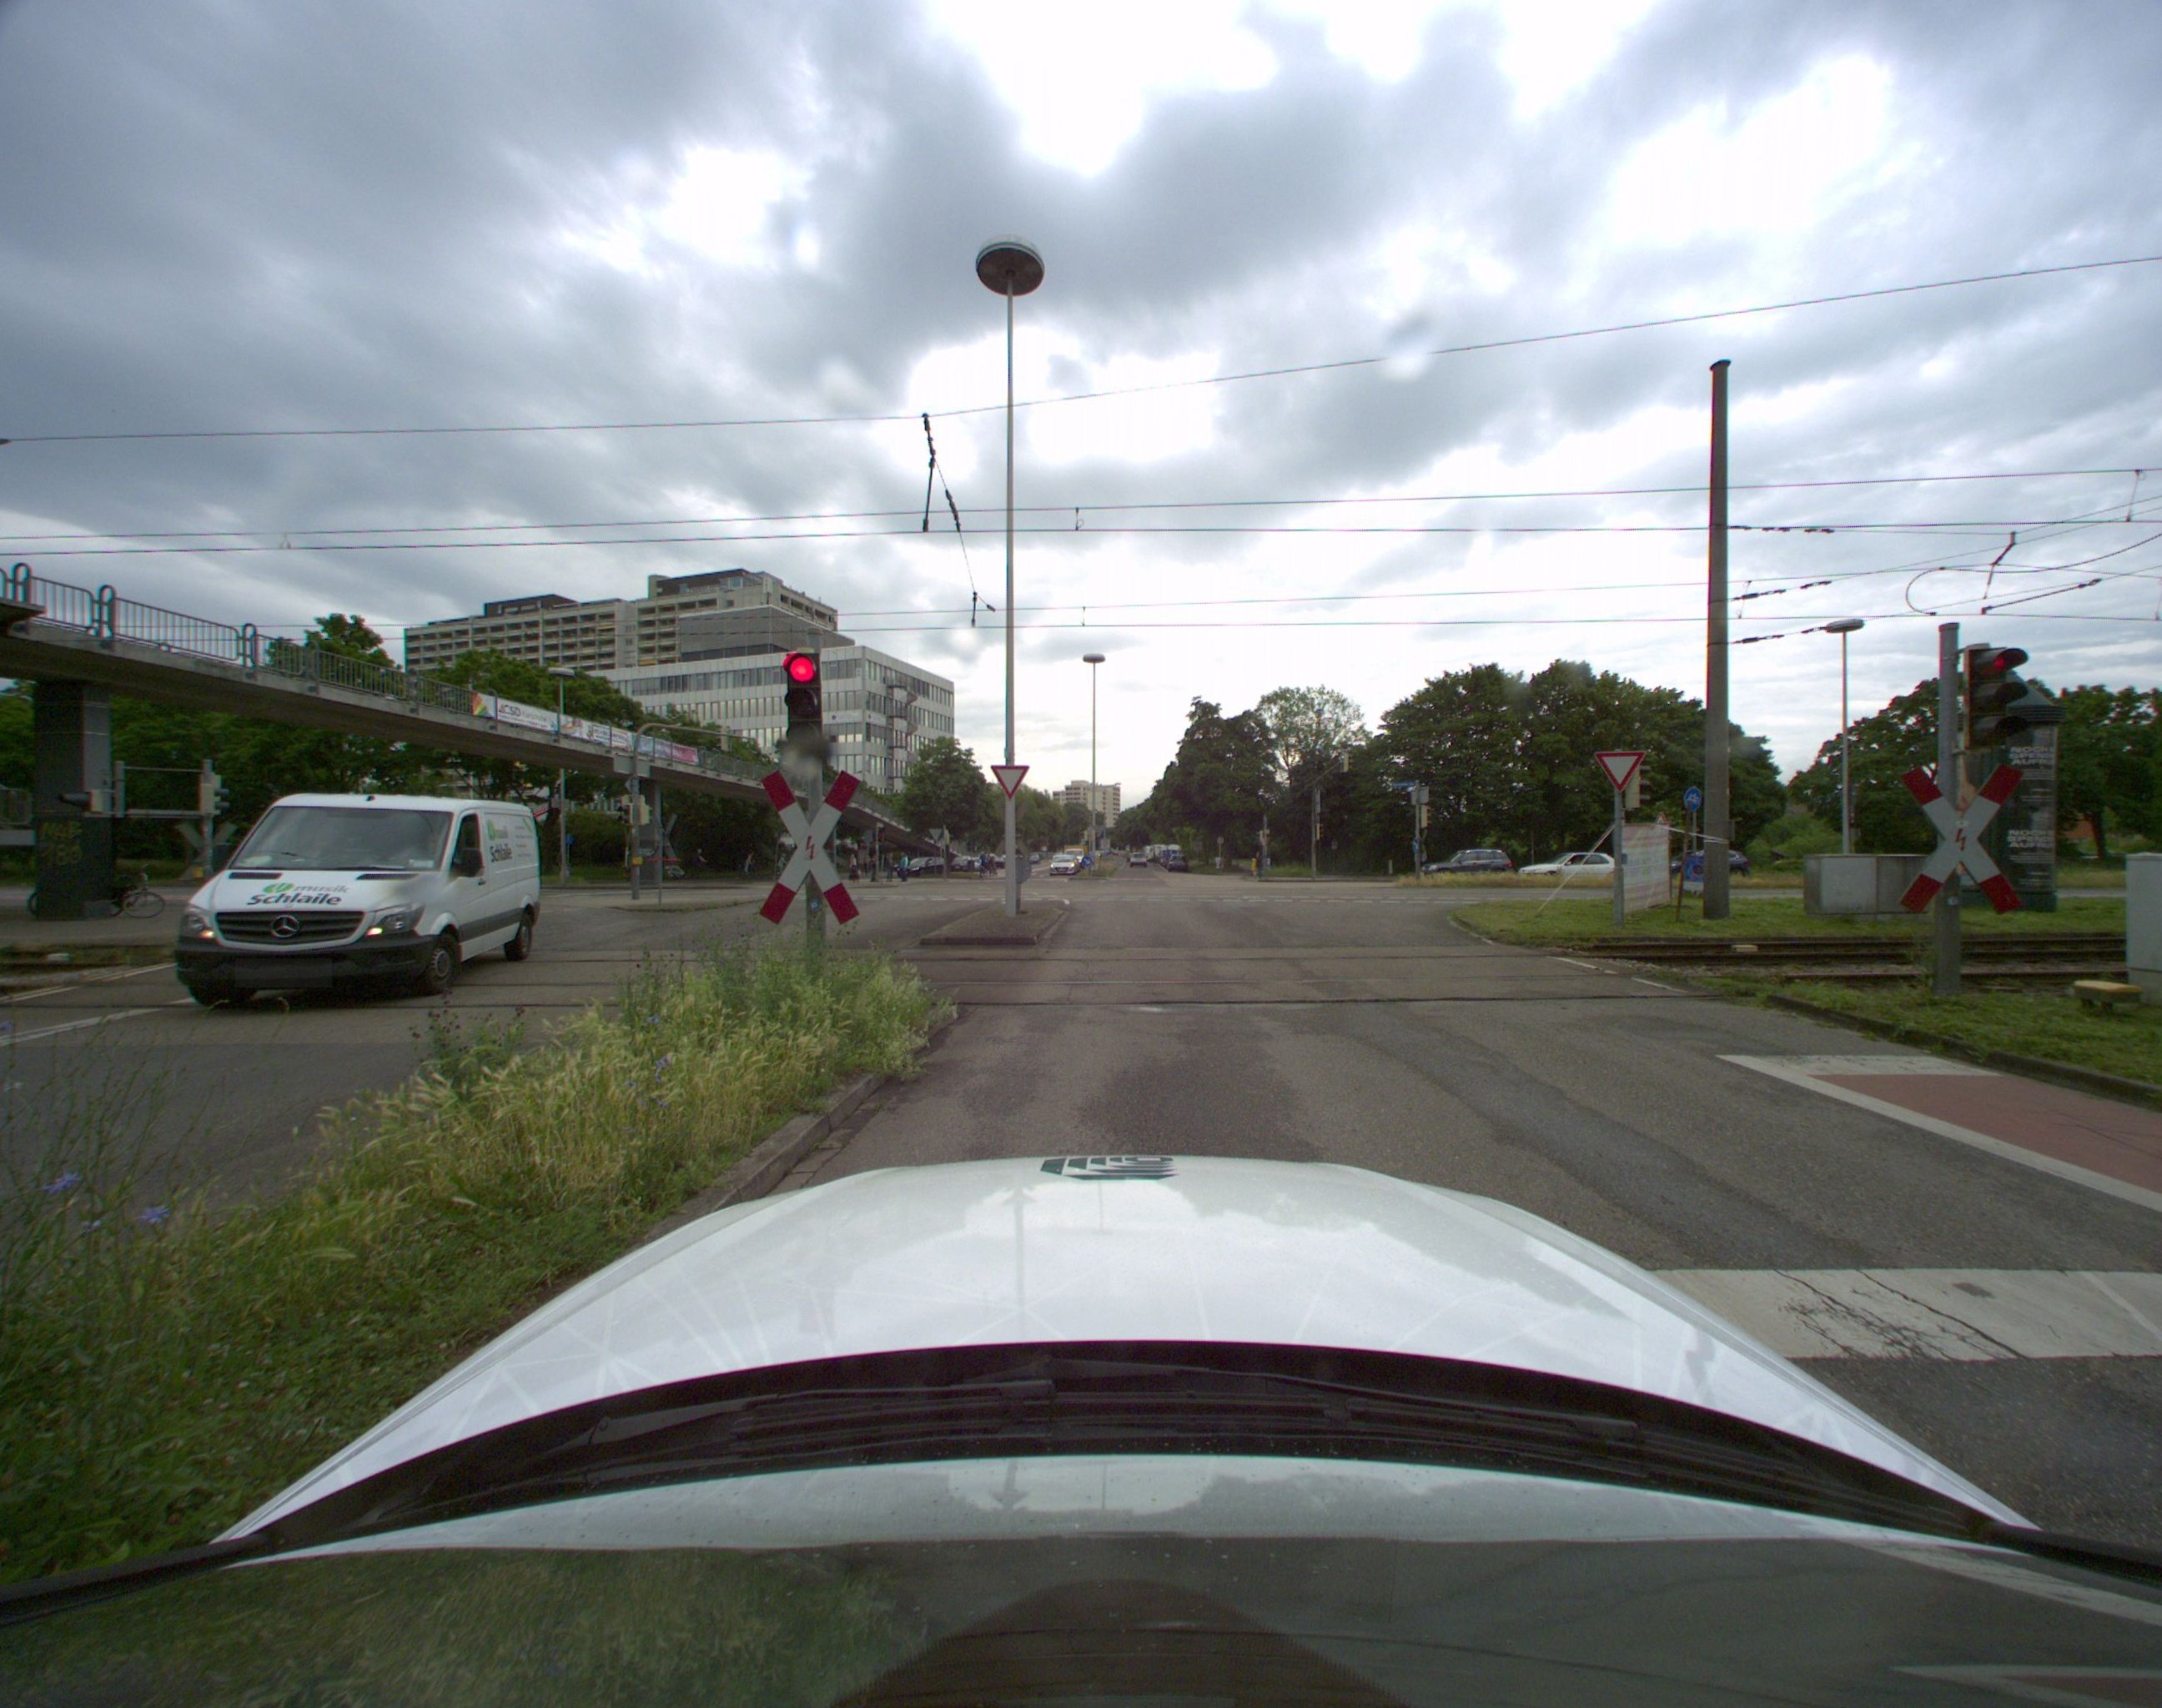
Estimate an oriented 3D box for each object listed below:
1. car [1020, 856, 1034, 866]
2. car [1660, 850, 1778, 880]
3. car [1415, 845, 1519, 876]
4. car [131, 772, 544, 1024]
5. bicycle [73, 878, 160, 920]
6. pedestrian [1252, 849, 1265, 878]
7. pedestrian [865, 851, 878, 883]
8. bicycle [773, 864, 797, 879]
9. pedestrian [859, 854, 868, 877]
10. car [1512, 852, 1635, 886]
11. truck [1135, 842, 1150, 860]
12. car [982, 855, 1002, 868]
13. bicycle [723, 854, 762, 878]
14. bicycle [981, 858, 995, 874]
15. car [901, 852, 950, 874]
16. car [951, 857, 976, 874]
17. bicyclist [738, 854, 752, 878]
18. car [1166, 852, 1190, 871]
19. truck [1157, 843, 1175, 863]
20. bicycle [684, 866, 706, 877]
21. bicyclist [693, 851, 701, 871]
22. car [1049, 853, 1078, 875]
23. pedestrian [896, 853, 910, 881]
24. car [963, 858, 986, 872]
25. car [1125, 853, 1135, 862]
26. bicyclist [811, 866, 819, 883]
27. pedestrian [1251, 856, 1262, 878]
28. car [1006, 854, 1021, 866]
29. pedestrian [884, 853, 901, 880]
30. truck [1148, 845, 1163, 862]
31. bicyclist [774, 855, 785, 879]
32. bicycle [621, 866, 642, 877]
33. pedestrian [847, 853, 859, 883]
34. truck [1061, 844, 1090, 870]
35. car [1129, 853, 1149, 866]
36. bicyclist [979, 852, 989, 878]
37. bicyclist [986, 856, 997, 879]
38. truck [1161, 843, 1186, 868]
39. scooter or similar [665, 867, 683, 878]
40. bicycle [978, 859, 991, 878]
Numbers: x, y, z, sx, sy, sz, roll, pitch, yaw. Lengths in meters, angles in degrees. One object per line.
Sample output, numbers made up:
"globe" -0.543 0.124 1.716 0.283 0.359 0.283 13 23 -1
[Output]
"car" -8.318 1.111 126.131 1.665 1.552 4.003 0 0 3
"car" 31.982 0.539 40.907 4.447 1.440 1.847 0 0 2
"car" 19.625 0.329 41.507 4.447 1.504 1.847 0 0 2
"car" -8.624 0.424 10.223 2.143 2.292 5.168 -2 -1 -23
"bicycle" -21.732 1.002 18.349 2.017 0.921 0.375 0 0 13
"pedestrian" 10.708 0.581 49.092 0.654 1.750 0.459 0 0 1
"pedestrian" -11.881 0.741 46.231 0.636 1.803 0.800 0 0 -7
"bicycle" -19.869 1.184 54.697 0.628 0.925 2.524 0 0 2
"pedestrian" -15.224 0.808 57.058 0.580 1.579 0.777 0 0 -16
"car" 20.459 0.624 33.946 4.120 1.357 1.648 0 0 2
"truck" 10.791 -0.446 142.910 1.988 3.009 5.768 0 -1 -1
"car" -10.160 0.829 93.486 1.757 1.395 4.002 0 0 2
"bicycle" -22.523 0.795 54.175 2.361 1.625 0.525 0 -1 -14
"bicycle" -6.638 0.813 58.185 0.724 1.101 2.265 0 0 2
"car" -10.999 0.610 57.786 1.658 1.552 4.018 0 0 17
"car" -11.209 1.043 78.086 1.665 1.552 3.894 0 0 3
"bicyclist" -22.389 0.795 54.236 0.748 1.625 0.525 0 -1 -14
"car" 8.793 0.621 73.888 1.777 1.662 4.002 0 0 2
"truck" 12.498 -0.174 119.984 1.988 2.838 5.727 0 0 -2
"bicycle" -25.430 1.155 53.625 1.303 0.692 0.287 0 0 -34
"bicyclist" -25.317 0.452 53.692 0.385 1.303 0.275 0 0 -35
"car" -1.208 0.706 58.152 1.782 1.519 4.327 0 0 2
"pedestrian" -10.095 0.727 46.166 0.685 1.605 0.487 0 0 -3
"car" -10.864 1.103 83.577 1.665 1.387 3.898 0 0 3
"car" 7.823 0.525 130.359 1.548 1.505 4.002 0 0 2
"bicyclist" -18.003 1.387 55.201 0.403 1.181 0.378 0 1 4
"pedestrian" 10.714 0.777 49.750 0.525 1.342 0.525 0 0 1
"car" -8.837 0.797 106.707 1.439 1.552 3.666 0 0 2
"pedestrian" -10.717 0.716 46.322 0.917 1.511 0.402 0 0 -10
"truck" 12.095 -0.066 132.075 1.987 2.573 5.377 0 -1 0
"bicyclist" -20.244 0.873 54.712 0.563 1.644 0.532 0 -1 2
"bicycle" -29.168 1.125 52.823 1.145 0.668 0.265 -4 0 -6
"pedestrian" -12.896 0.801 46.109 0.619 1.691 0.403 0 0 -12
"truck" -0.416 0.214 72.327 2.146 2.199 5.846 0 0 4
"car" 6.521 0.594 91.682 2.013 1.505 4.002 0 0 2
"bicyclist" -6.682 0.741 56.115 0.642 1.768 0.647 0 0 1
"bicyclist" -6.494 0.976 58.845 0.676 1.594 0.695 0 -1 1
"truck" 10.273 0.208 90.665 2.166 2.656 6.249 -1 0 2
"scooter or similar" -26.463 1.194 52.920 1.001 0.715 0.402 0 0 -34
"bicycle" -6.671 1.020 56.329 0.541 1.267 2.112 0 0 2
